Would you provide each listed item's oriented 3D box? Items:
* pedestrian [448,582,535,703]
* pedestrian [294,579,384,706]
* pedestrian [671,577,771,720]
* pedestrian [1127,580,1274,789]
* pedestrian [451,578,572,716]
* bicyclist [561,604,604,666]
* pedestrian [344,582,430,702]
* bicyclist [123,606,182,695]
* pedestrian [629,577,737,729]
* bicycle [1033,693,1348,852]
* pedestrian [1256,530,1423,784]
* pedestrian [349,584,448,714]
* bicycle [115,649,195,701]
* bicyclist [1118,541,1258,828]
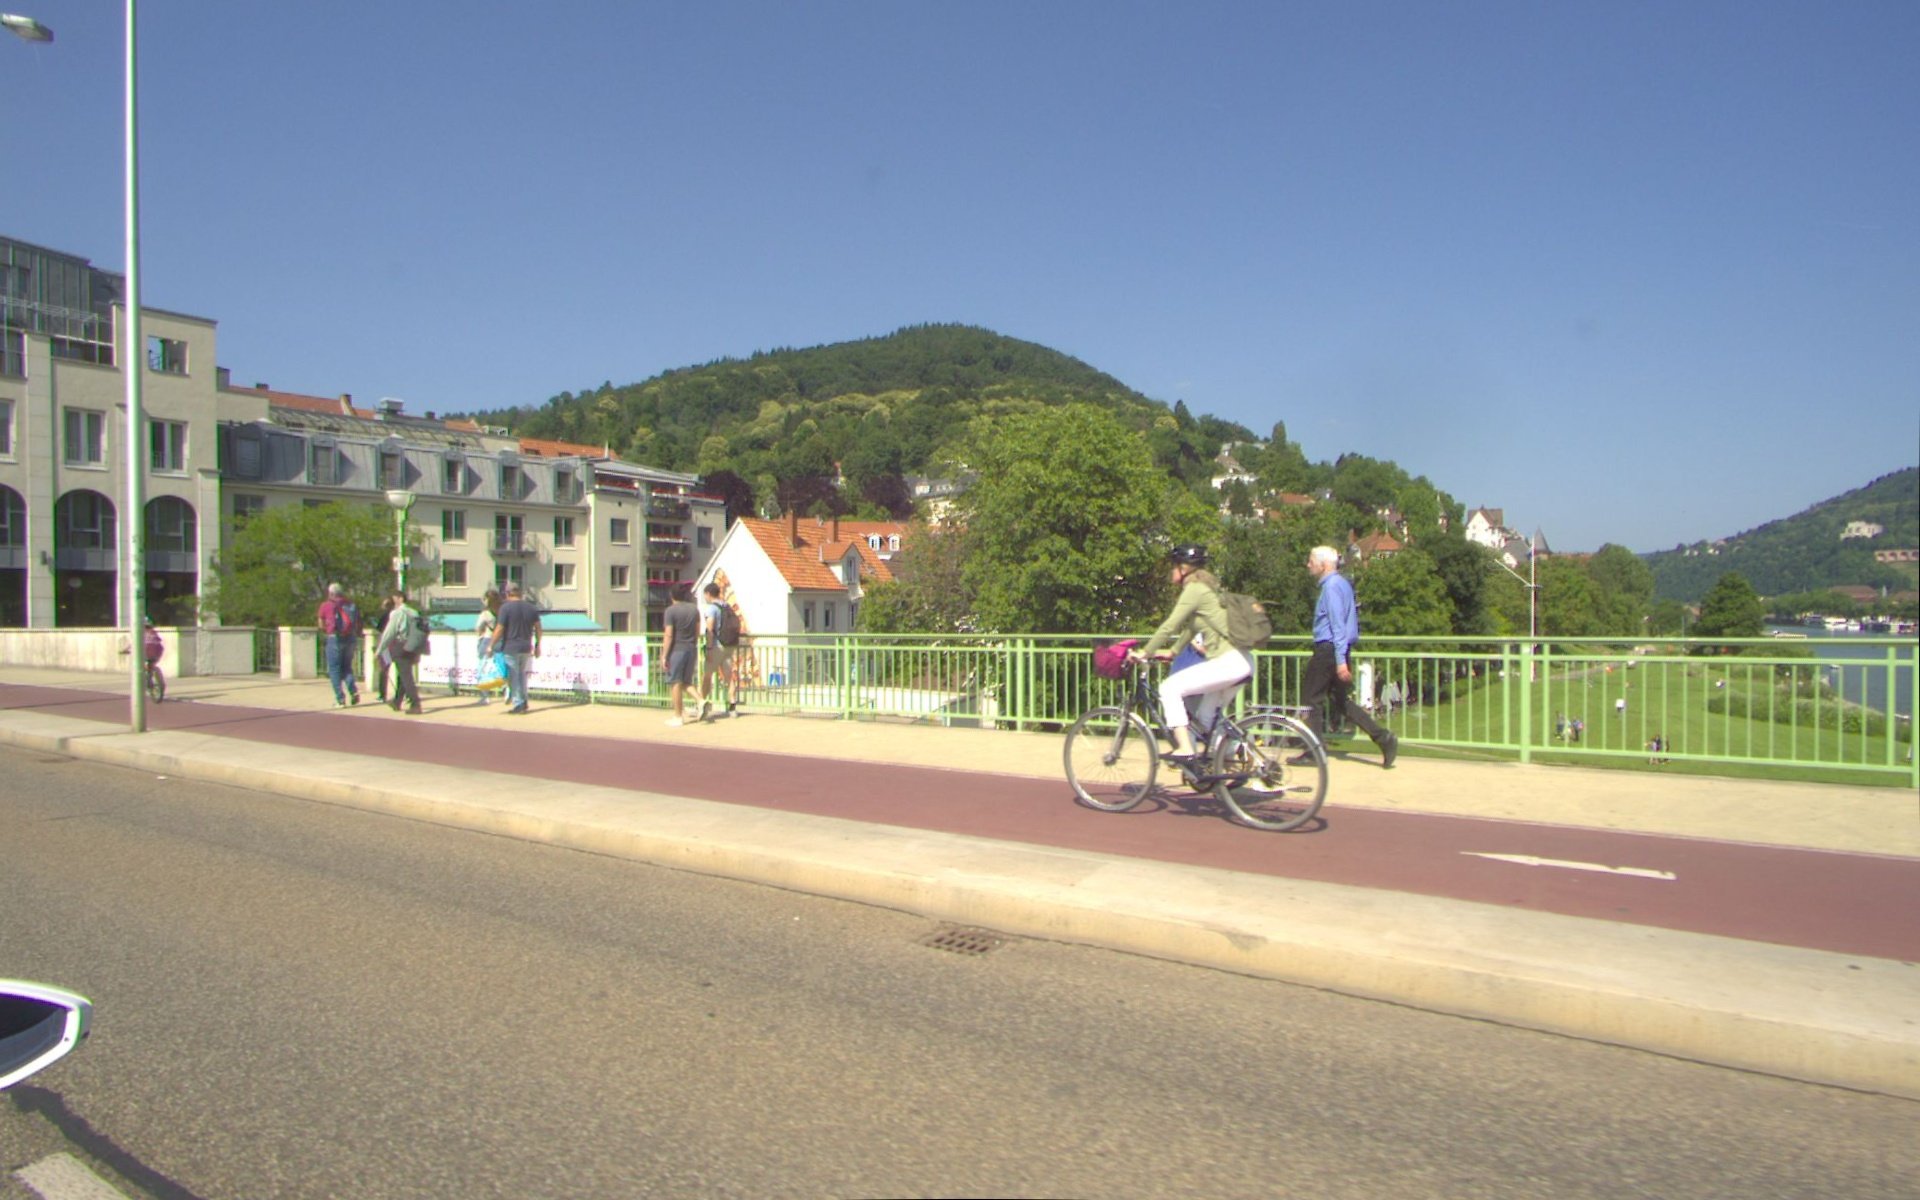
[{"bbox_3d":[-7.131,0.628,15.243,1.001,1.770,0.737,0,2,32],"label":"pedestrian"},{"bbox_3d":[-9.290,0.612,14.995,1.001,1.826,0.737,0,2,32],"label":"pedestrian"},{"bbox_3d":[-3.048,0.592,12.784,1.001,1.741,0.737,0,1,32],"label":"pedestrian"},{"bbox_3d":[1.932,0.628,8.003,0.920,1.550,0.827,0,1,32],"label":"pedestrian"},{"bbox_3d":[-6.152,0.609,13.754,1.190,1.801,0.975,0,1,32],"label":"pedestrian"},{"bbox_3d":[-10.886,0.991,28.860,0.912,1.718,1.136,-1,1,-34],"label":"bicyclist"},{"bbox_3d":[-8.931,0.634,15.606,1.001,1.801,0.737,0,2,32],"label":"pedestrian"},{"bbox_3d":[-13.209,0.810,16.385,0.659,1.402,0.532,0,2,33],"label":"bicyclist"},{"bbox_3d":[-3.327,0.603,12.041,1.001,1.741,0.737,0,2,32],"label":"pedestrian"},{"bbox_3d":[1.416,1.026,6.288,1.839,0.776,0.592,-1,1,30],"label":"bicycle"},{"bbox_3d":[3.138,0.436,8.261,1.121,1.923,0.924,0,1,32],"label":"pedestrian"},{"bbox_3d":[-7.846,0.659,13.996,1.058,1.741,0.752,0,2,32],"label":"pedestrian"},{"bbox_3d":[-13.178,1.209,16.379,1.637,0.776,0.512,-1,1,33],"label":"bicycle"},{"bbox_3d":[1.433,0.499,6.265,0.692,1.672,0.585,0,1,31],"label":"bicyclist"}]
